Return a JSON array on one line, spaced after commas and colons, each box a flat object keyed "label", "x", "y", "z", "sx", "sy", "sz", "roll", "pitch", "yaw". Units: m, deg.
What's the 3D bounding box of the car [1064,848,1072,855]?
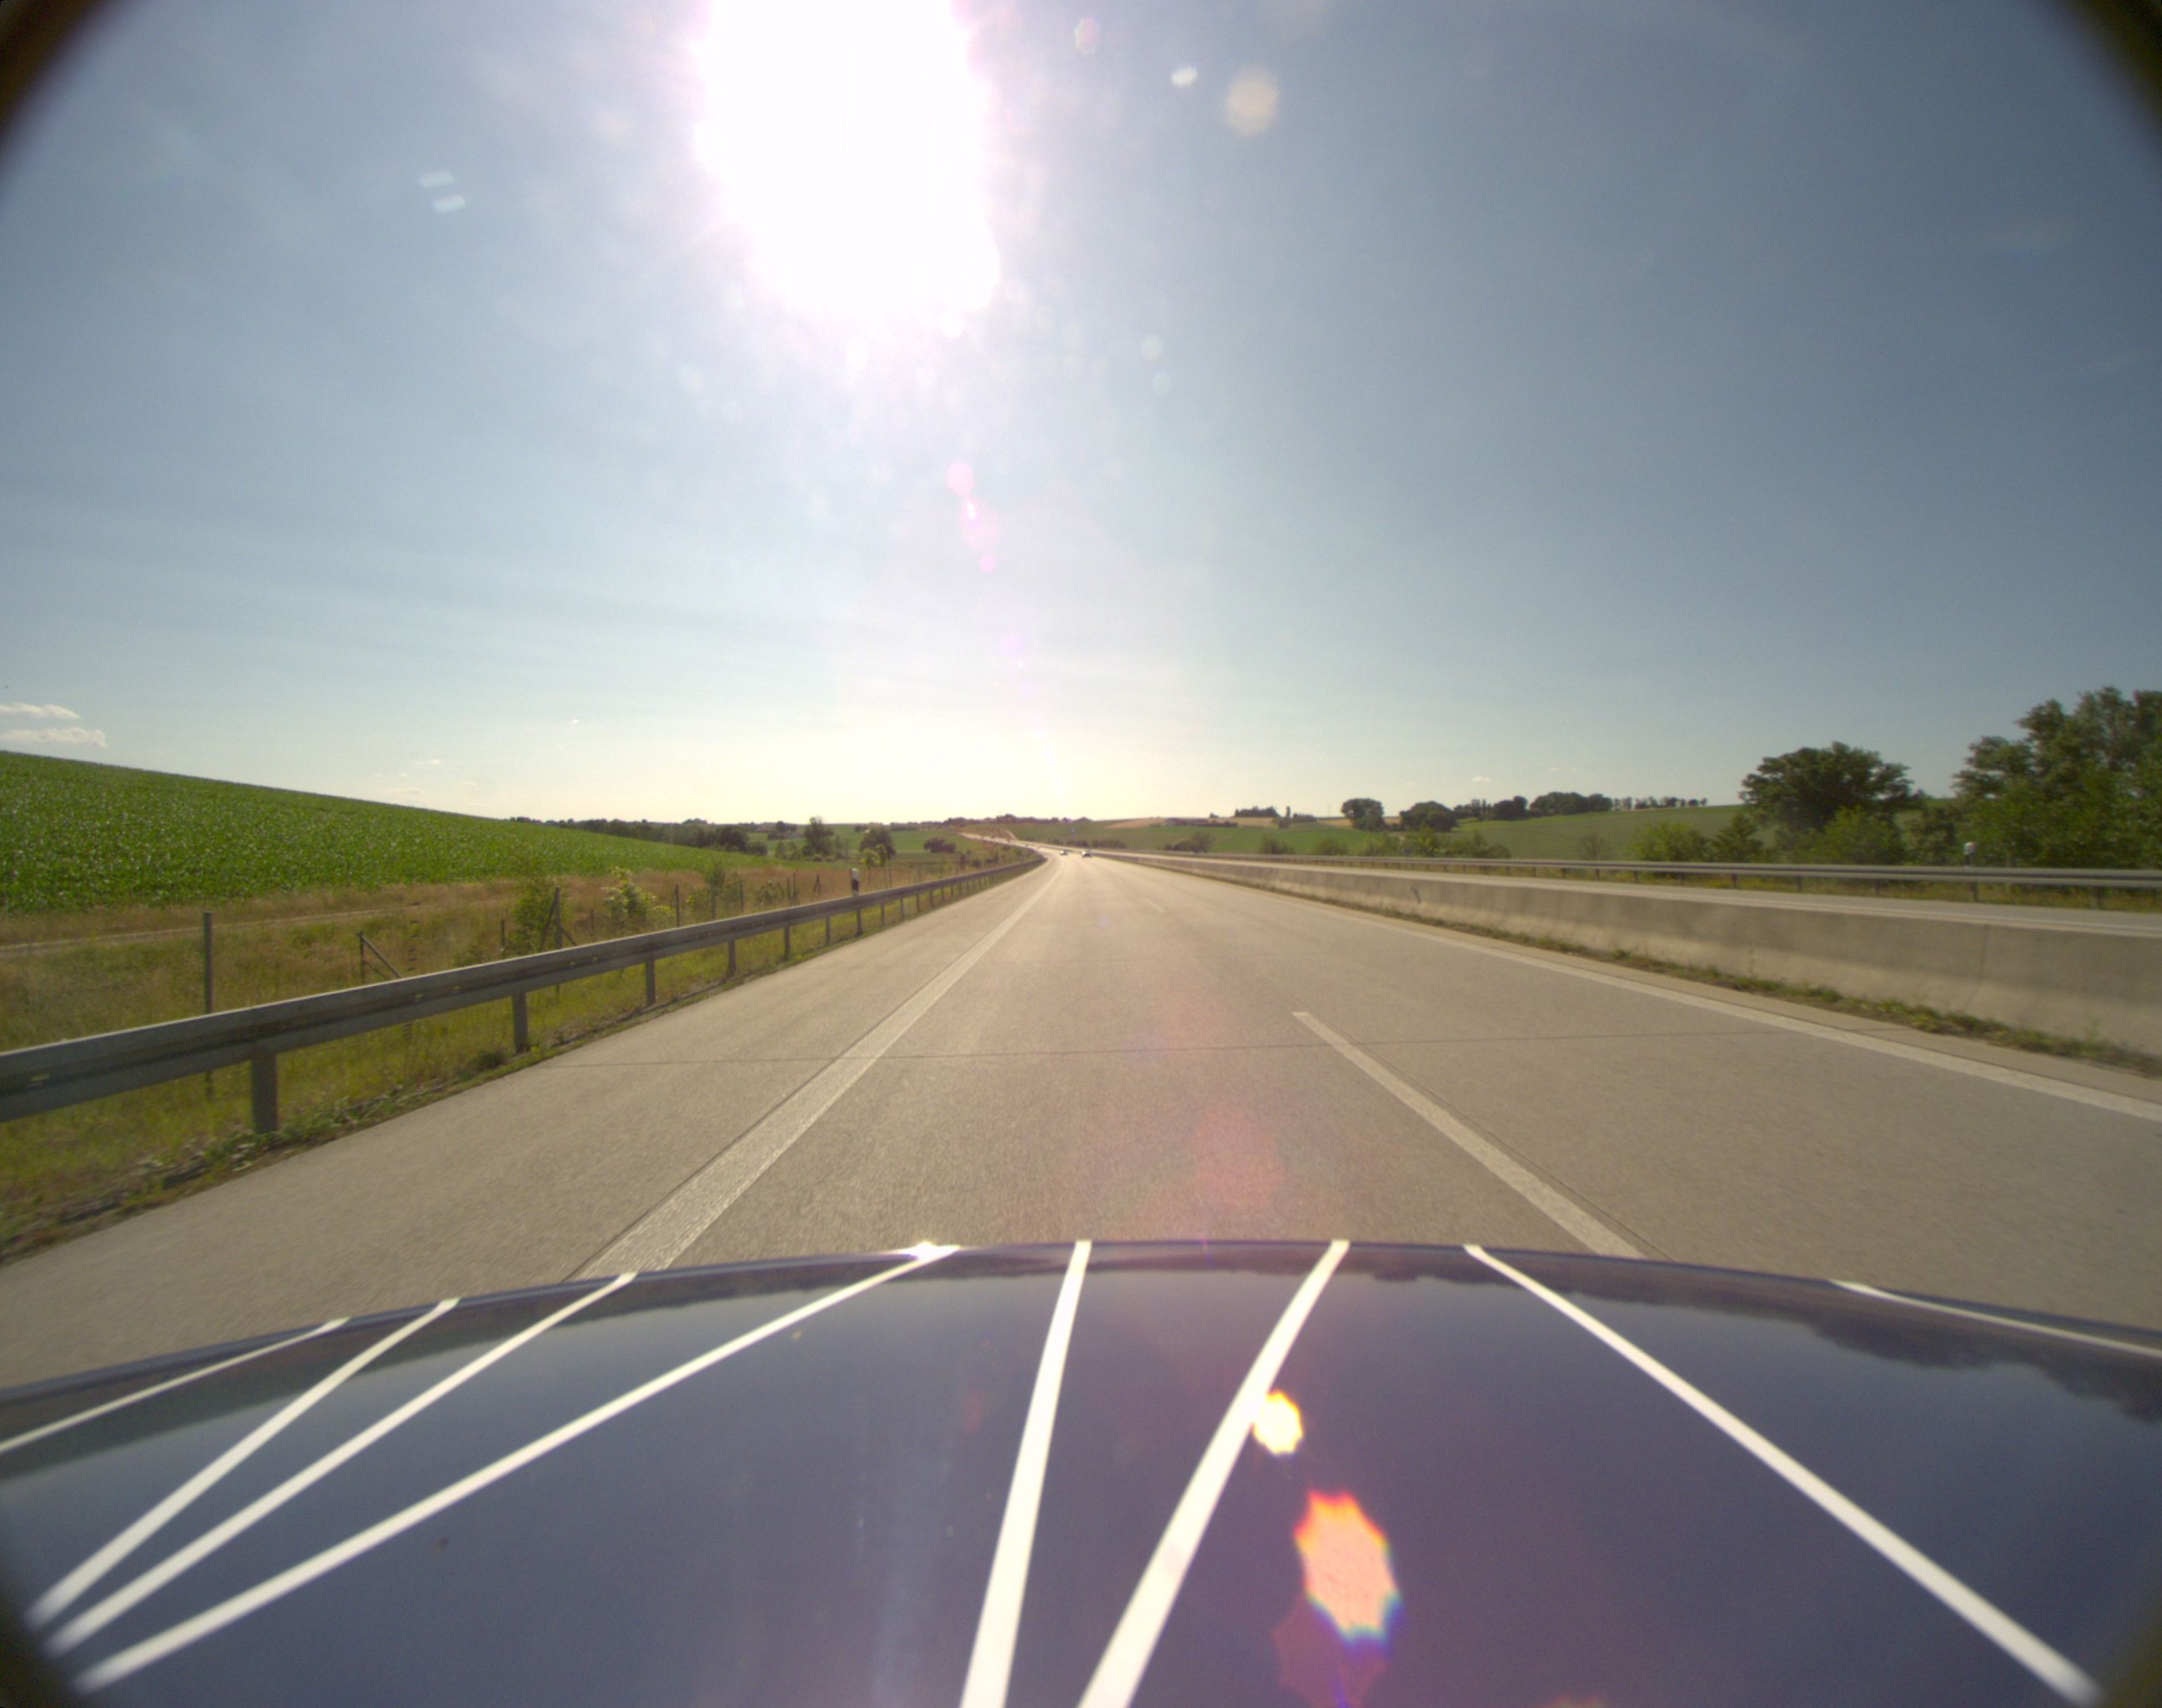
[{"label": "car", "x": -3.562, "y": -0.776, "z": 204.437, "sx": 1.715, "sy": 1.581, "sz": 4.623, "roll": -3, "pitch": 3, "yaw": -5}]

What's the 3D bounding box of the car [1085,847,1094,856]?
[{"label": "car", "x": 1.689, "y": -0.467, "z": 153.058, "sx": 1.715, "sy": 1.581, "sz": 4.625, "roll": -2, "pitch": 3, "yaw": 2}]
